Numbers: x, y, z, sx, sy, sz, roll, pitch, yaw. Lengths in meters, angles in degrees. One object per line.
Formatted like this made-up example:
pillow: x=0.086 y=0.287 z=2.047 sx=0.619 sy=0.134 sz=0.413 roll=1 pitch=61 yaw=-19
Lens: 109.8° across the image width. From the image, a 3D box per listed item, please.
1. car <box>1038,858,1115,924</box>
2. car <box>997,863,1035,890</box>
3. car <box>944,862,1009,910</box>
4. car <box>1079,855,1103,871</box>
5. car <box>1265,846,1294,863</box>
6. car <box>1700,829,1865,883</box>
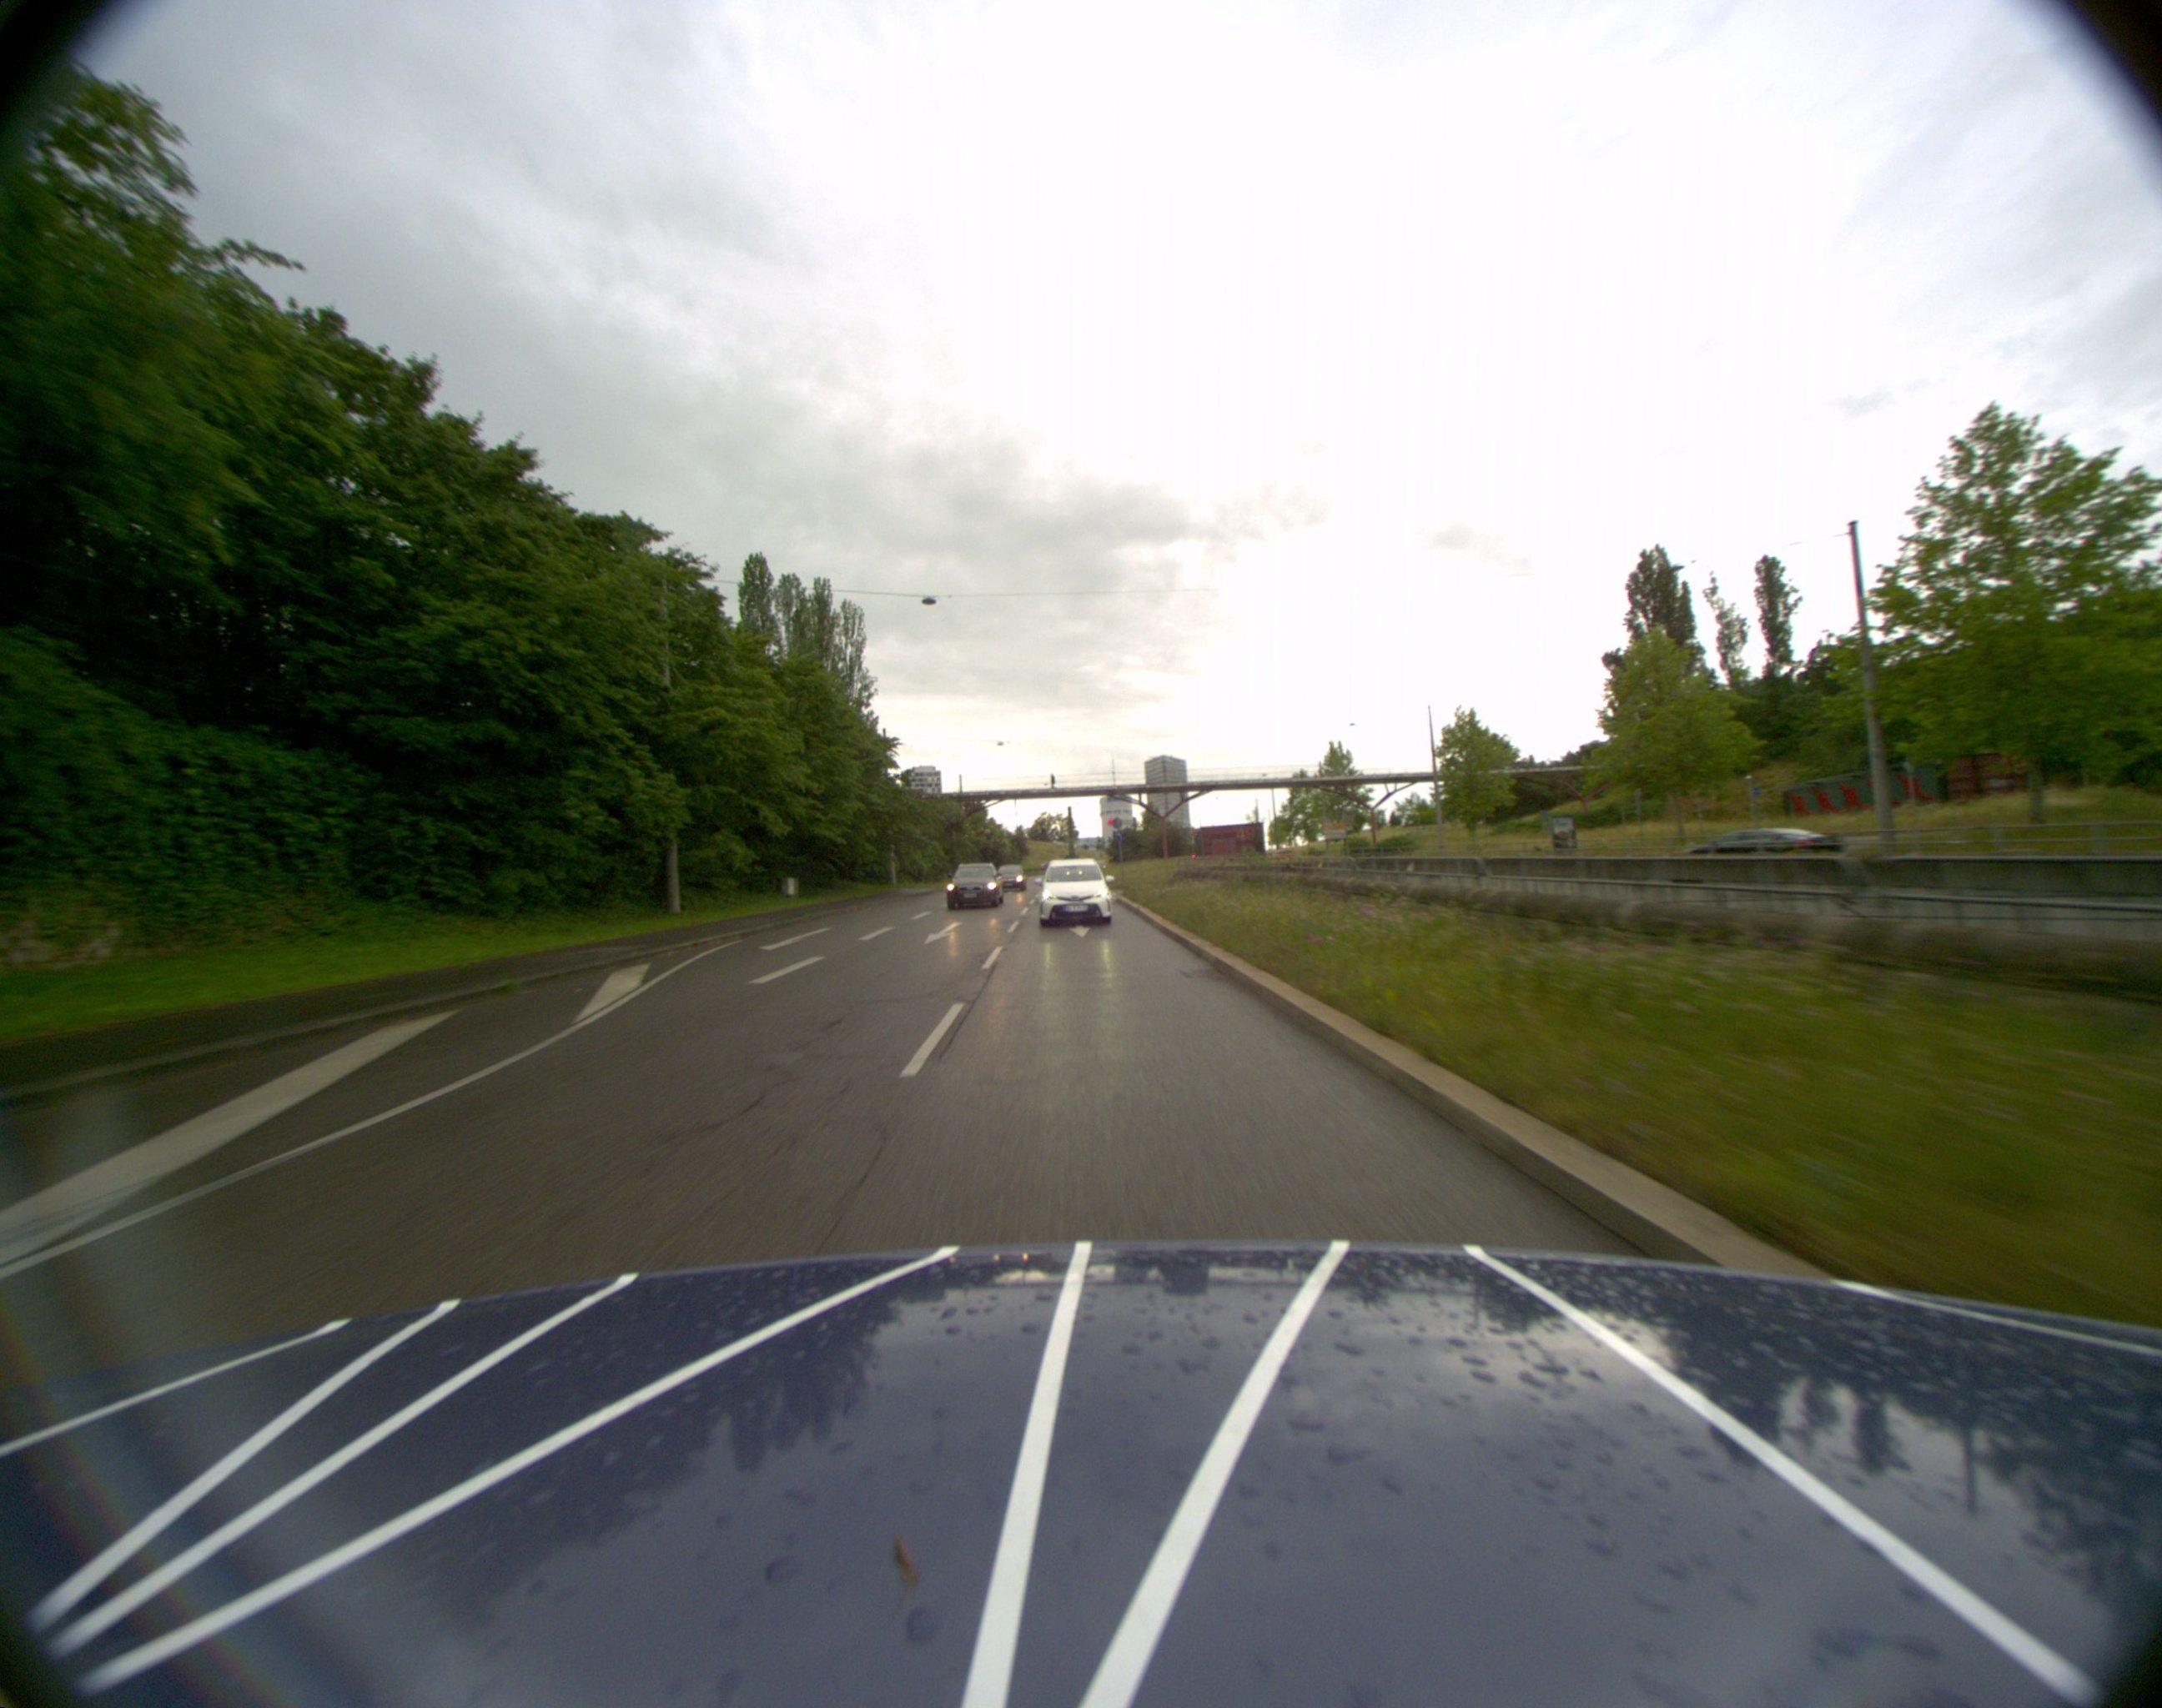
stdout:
car: x=-0.022 y=0.956 z=21.492 sx=1.924 sy=1.604 sz=4.376 roll=-2 pitch=0 yaw=2
car: x=-3.739 y=1.287 z=44.274 sx=1.846 sy=1.376 sz=4.000 roll=-3 pitch=-1 yaw=0
car: x=-3.810 y=1.113 z=28.378 sx=1.928 sy=1.591 sz=4.279 roll=-2 pitch=0 yaw=-2
car: x=1.195 y=1.065 z=89.788 sx=1.996 sy=1.761 sz=4.004 roll=-2 pitch=0 yaw=14
car: x=20.531 y=0.049 z=78.752 sx=1.661 sy=1.518 sz=4.436 roll=-4 pitch=-1 yaw=-1
car: x=23.875 y=0.090 z=26.092 sx=1.896 sy=1.631 sz=3.973 roll=-3 pitch=-1 yaw=0
